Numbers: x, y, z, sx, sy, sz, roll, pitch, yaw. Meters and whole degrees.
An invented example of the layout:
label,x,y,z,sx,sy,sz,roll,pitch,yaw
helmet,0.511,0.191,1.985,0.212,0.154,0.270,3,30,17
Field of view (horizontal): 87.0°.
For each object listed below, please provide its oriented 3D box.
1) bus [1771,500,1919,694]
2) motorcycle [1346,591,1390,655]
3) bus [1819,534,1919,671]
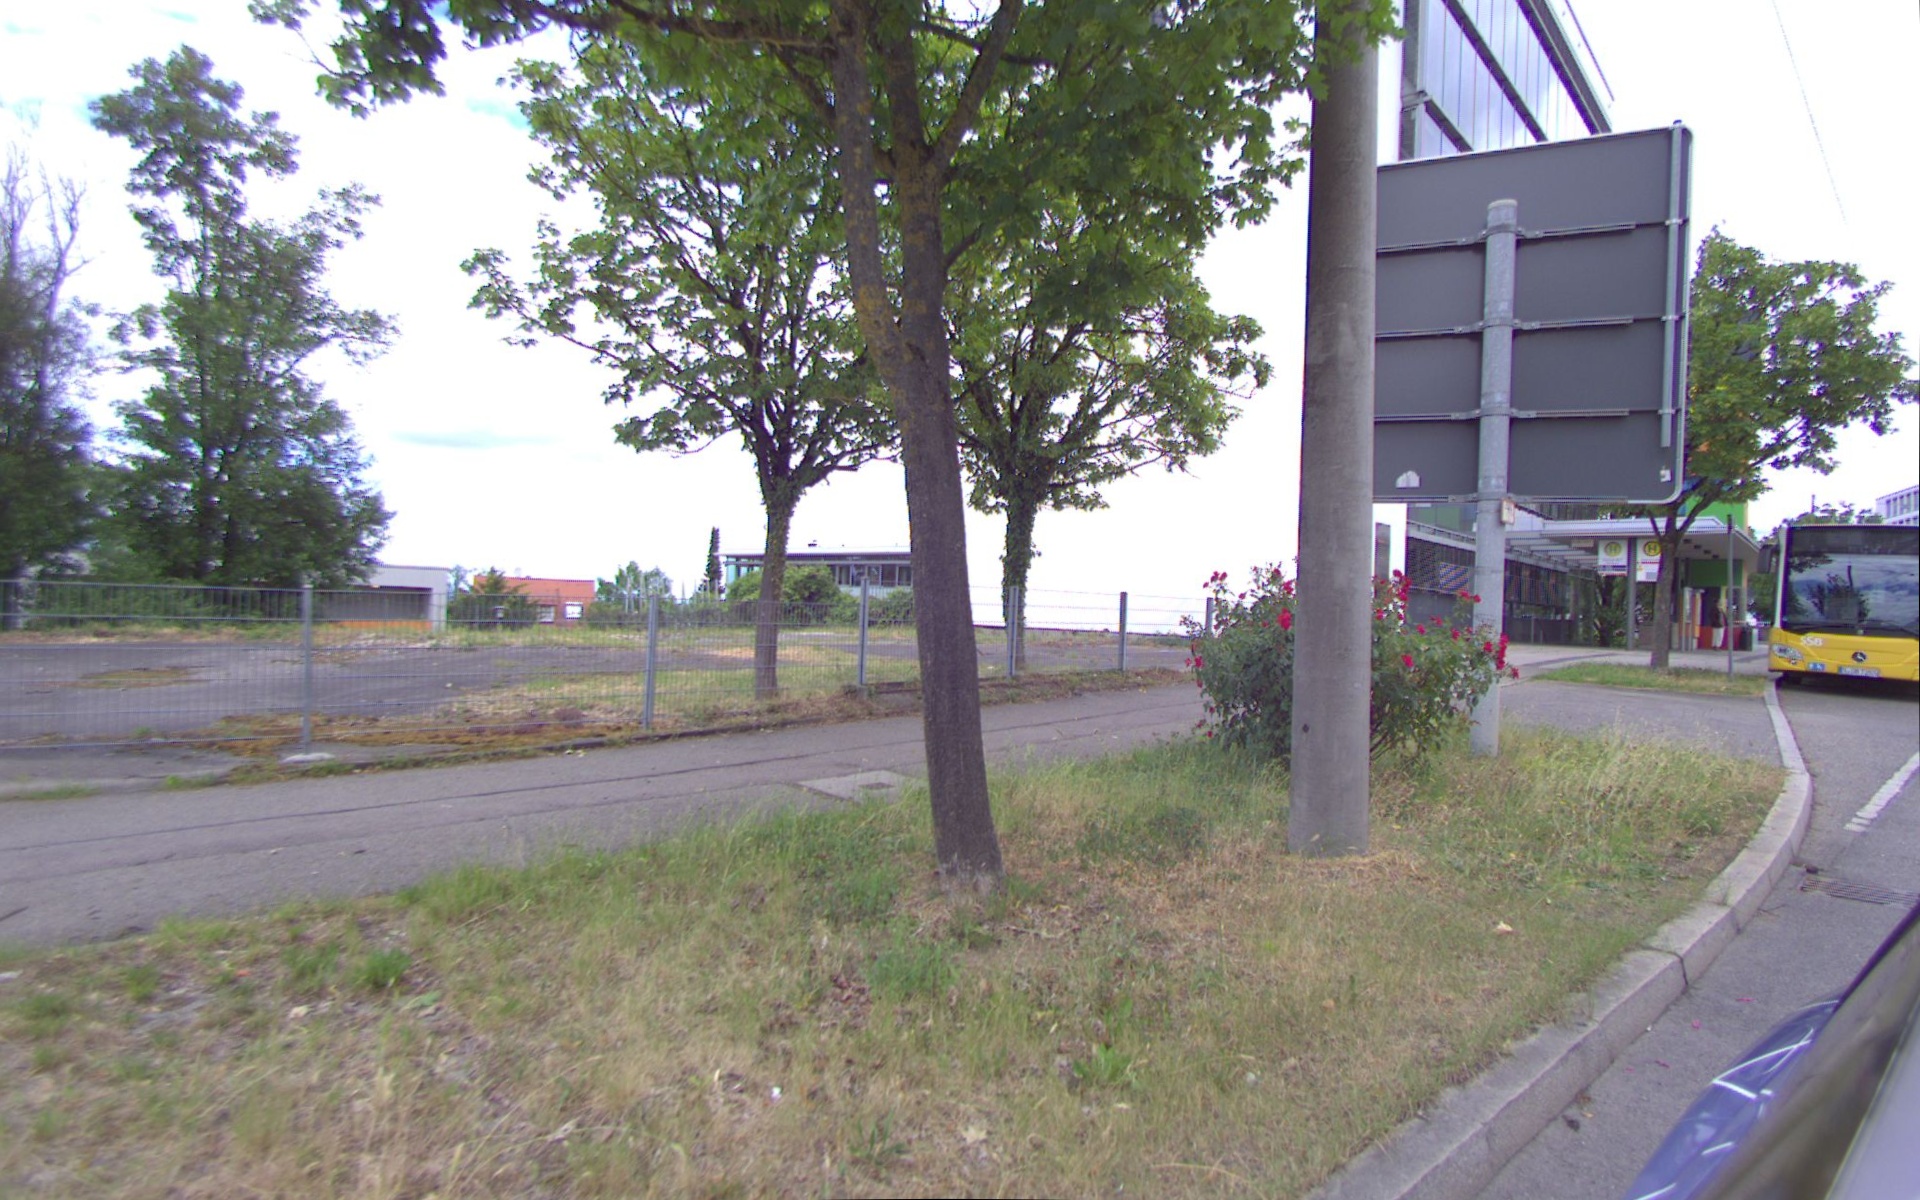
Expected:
label,x,y,z,sx,sy,sz,roll,pitch,yaw
bus,18.690,-0.018,20.333,2.714,3.203,8.979,4,2,45
motorcycle,8.305,0.437,20.640,0.575,1.237,1.575,1,1,14
bus,24.900,0.106,26.704,2.713,3.148,8.726,2,1,45
